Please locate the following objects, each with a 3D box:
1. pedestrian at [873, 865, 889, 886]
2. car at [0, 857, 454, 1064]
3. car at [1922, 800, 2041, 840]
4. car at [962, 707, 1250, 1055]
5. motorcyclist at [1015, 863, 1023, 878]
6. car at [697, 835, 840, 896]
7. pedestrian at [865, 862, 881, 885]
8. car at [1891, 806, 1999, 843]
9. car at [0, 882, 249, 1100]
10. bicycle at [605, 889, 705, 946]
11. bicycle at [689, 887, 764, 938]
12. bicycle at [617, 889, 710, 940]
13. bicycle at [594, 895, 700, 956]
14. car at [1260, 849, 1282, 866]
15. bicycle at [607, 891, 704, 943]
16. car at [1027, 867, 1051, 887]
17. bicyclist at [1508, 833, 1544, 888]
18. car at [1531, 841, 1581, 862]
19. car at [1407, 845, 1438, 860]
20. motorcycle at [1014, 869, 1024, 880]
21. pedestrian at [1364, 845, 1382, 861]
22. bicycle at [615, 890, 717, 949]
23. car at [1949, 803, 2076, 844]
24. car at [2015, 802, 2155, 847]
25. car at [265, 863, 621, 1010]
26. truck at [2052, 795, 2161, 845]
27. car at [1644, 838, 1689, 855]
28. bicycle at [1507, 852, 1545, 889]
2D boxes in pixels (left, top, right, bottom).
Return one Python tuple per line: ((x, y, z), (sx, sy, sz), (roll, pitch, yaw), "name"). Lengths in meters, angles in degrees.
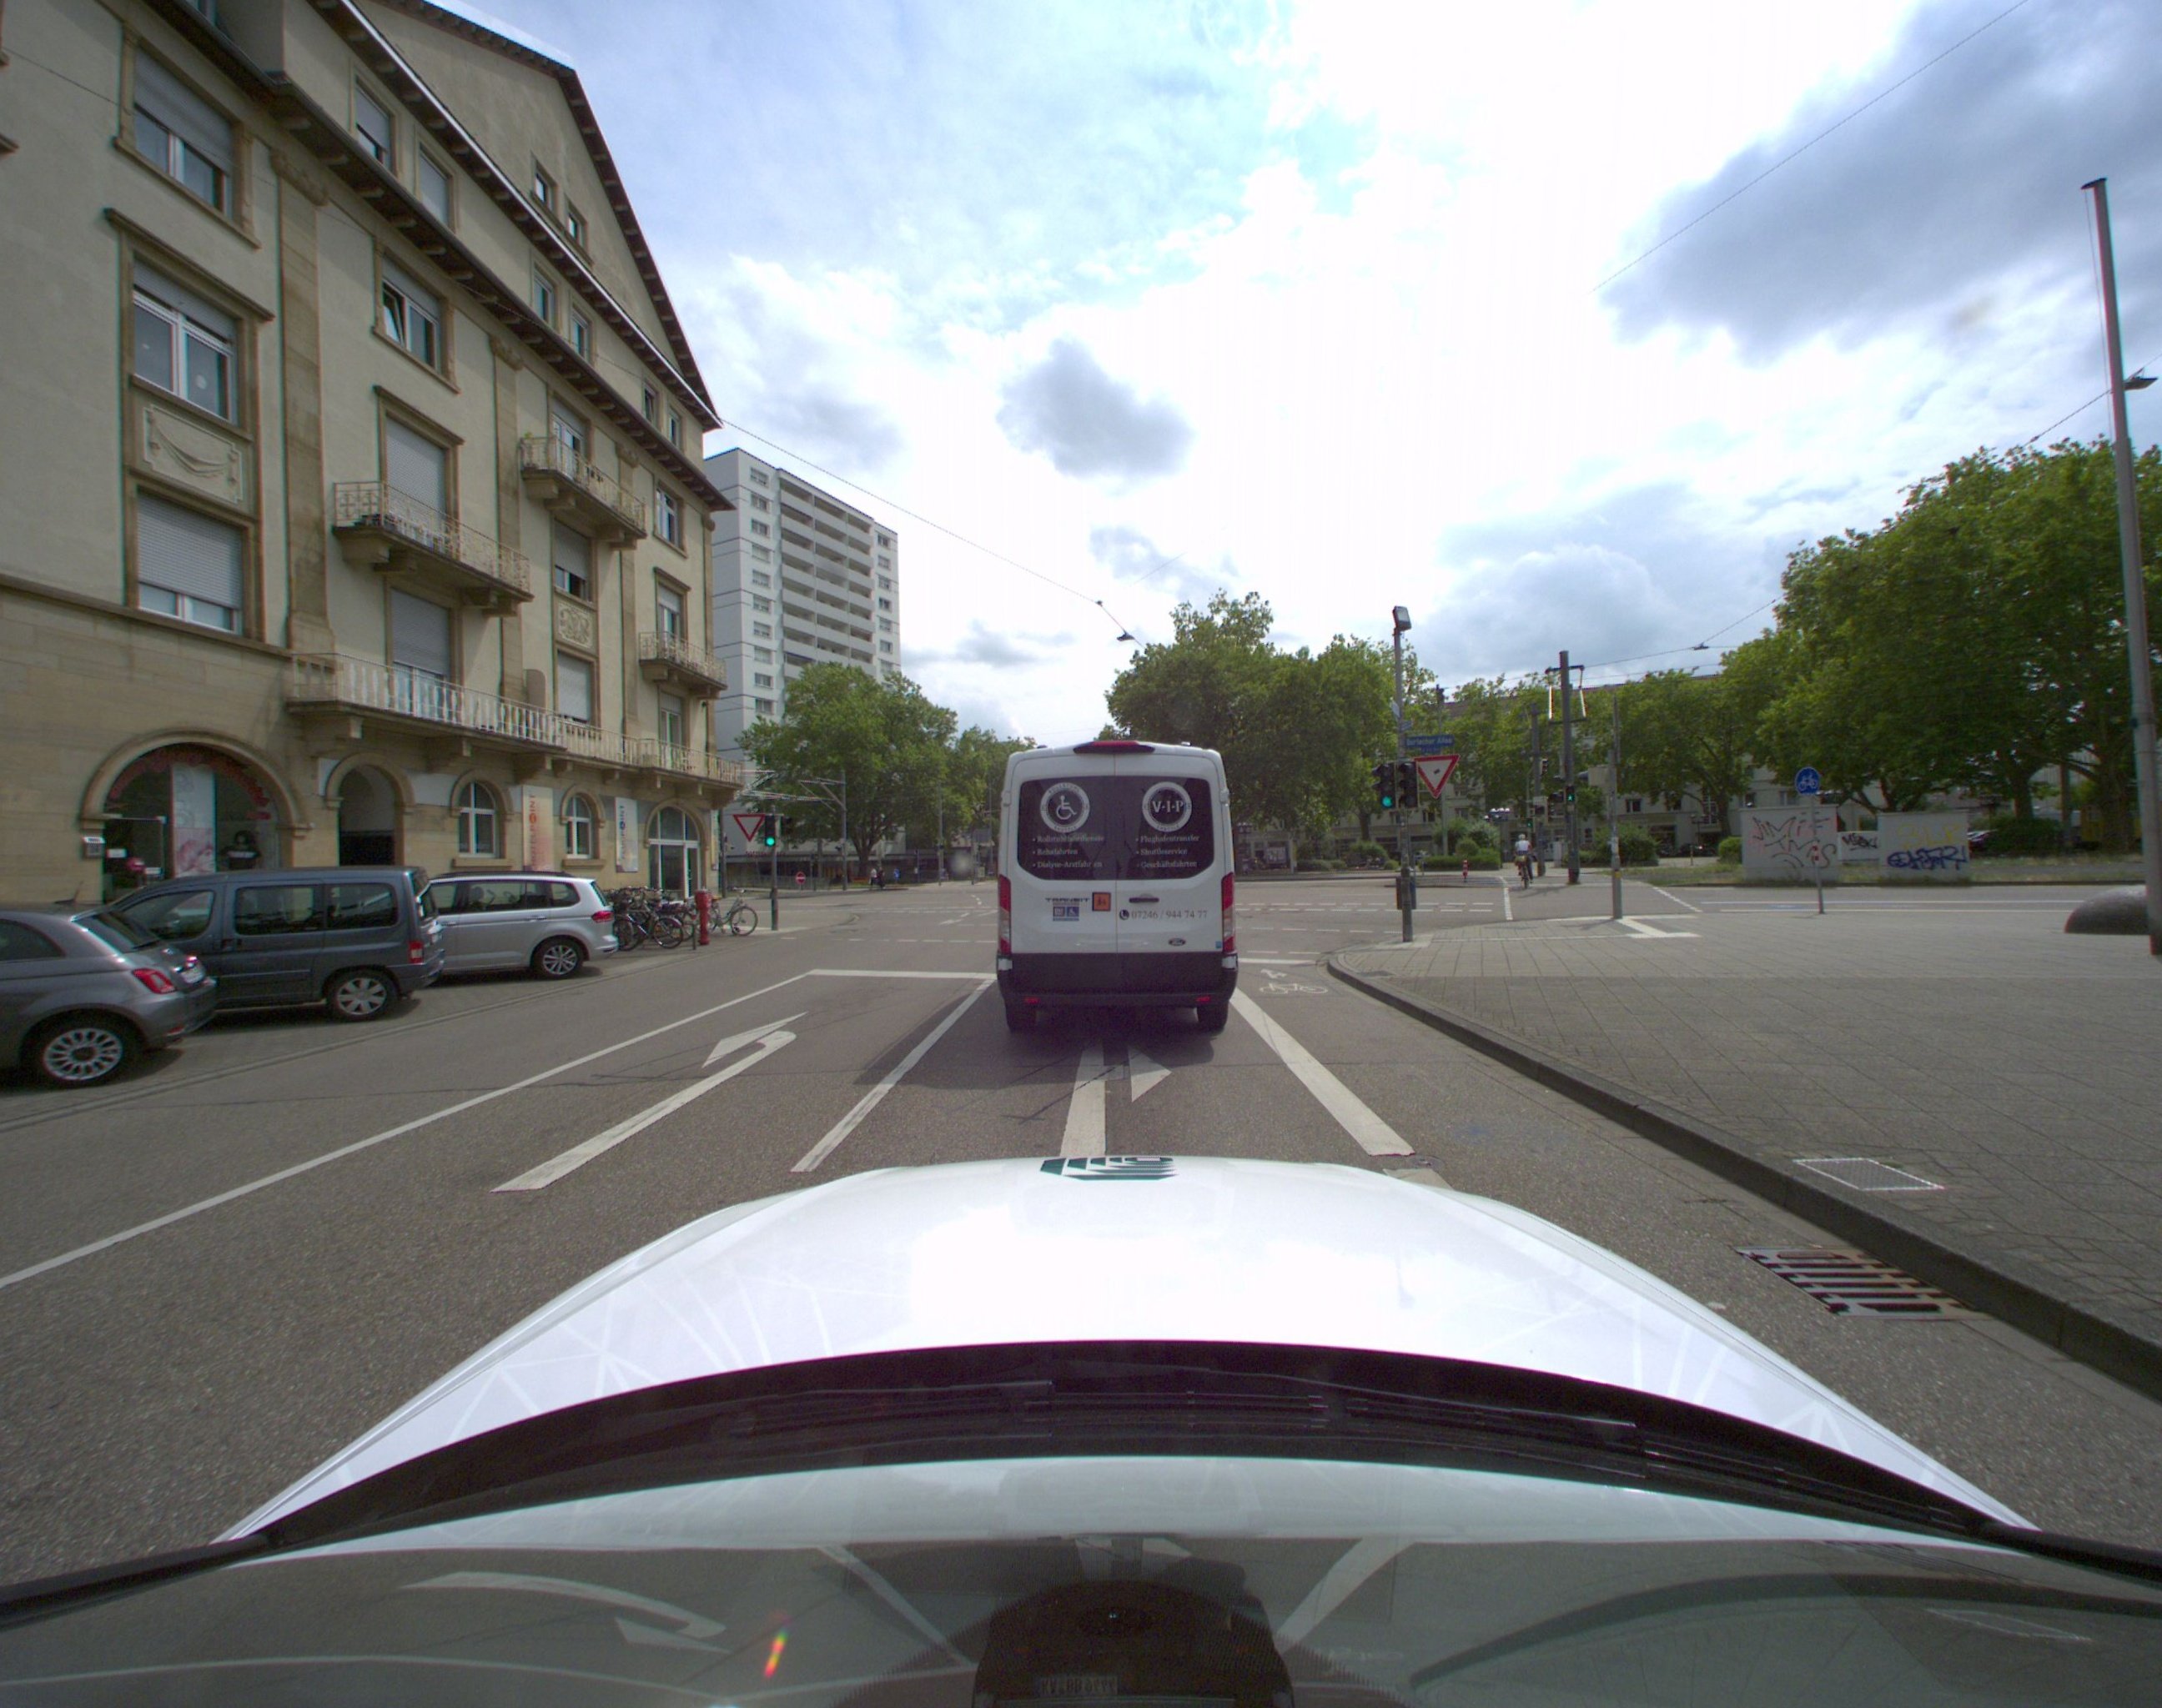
((-14.333, 1.540, 58.330), (0.728, 1.514, 0.921), (-2, 0, -44), "pedestrian")
((-9.766, 1.046, 9.318), (4.031, 1.879, 1.776), (-2, 0, -37), "car")
((66.731, -2.470, 60.505), (5.271, 2.585, 2.512), (-2, -1, 24), "car")
((0.226, 0.238, 8.659), (2.174, 2.648, 4.628), (-2, -1, 1), "car")
((-6.086, 1.625, 80.500), (0.680, 1.395, 0.682), (-2, 0, 2), "motorcyclist")
((-21.860, 0.843, 56.783), (9.792, 3.915, 3.476), (-2, 0, 26), "car")
((-14.645, 1.377, 57.298), (0.728, 1.572, 0.799), (-2, 0, -45), "pedestrian")
((68.983, -2.314, 65.154), (5.271, 2.585, 2.512), (-2, -1, 24), "car")
((-9.806, 1.160, 6.590), (4.031, 1.651, 1.776), (-2, 0, -37), "car")
((-9.148, 1.357, 17.536), (1.807, 1.166, 0.593), (0, -1, -6), "bicycle")
((-8.632, 1.412, 19.833), (1.859, 1.167, 0.500), (0, -1, 22), "bicycle")
((-9.637, 1.394, 18.858), (1.807, 1.120, 0.593), (0, -1, -6), "bicycle")
((-8.607, 1.410, 16.169), (1.799, 1.120, 0.595), (-2, 0, 8), "bicycle")
((21.811, 0.386, 93.678), (1.983, 1.930, 4.008), (-2, 0, 7), "car")
((-9.454, 1.394, 18.155), (1.807, 1.120, 0.593), (0, -1, -6), "bicycle")
((-3.440, 1.875, 66.786), (1.586, 1.507, 3.809), (-2, 0, 2), "car")
((14.011, 0.203, 25.643), (0.895, 1.683, 0.762), (-2, 0, 33), "bicyclist")
((44.676, -0.247, 76.695), (3.950, 1.883, 1.868), (-2, 0, 26), "car")
((36.363, -0.167, 86.703), (1.983, 1.503, 4.008), (-2, 0, 7), "car")
((-6.094, 2.013, 80.033), (0.680, 0.971, 2.325), (-2, 0, 2), "motorcycle")
((24.777, -0.063, 69.207), (1.086, 1.236, 1.443), (-4, -1, 6), "pedestrian")
((-8.548, 1.338, 16.783), (1.800, 1.120, 0.595), (2, 0, 5), "bicycle")
((65.802, -2.100, 57.676), (5.271, 2.585, 2.512), (-2, -1, 24), "car")
((65.305, -1.888, 53.127), (5.271, 2.585, 2.192), (-2, -1, 24), "car")
((-9.503, 1.097, 12.508), (4.031, 1.773, 1.776), (-2, 0, -37), "car")
((58.369, -1.875, 45.305), (3.042, 2.577, 6.549), (-2, 0, 25), "truck")
((55.785, -0.733, 77.630), (1.757, 1.503, 4.008), (-2, 0, 7), "car")
((14.028, 0.500, 25.640), (0.894, 1.075, 1.982), (-2, 0, 33), "bicycle")
